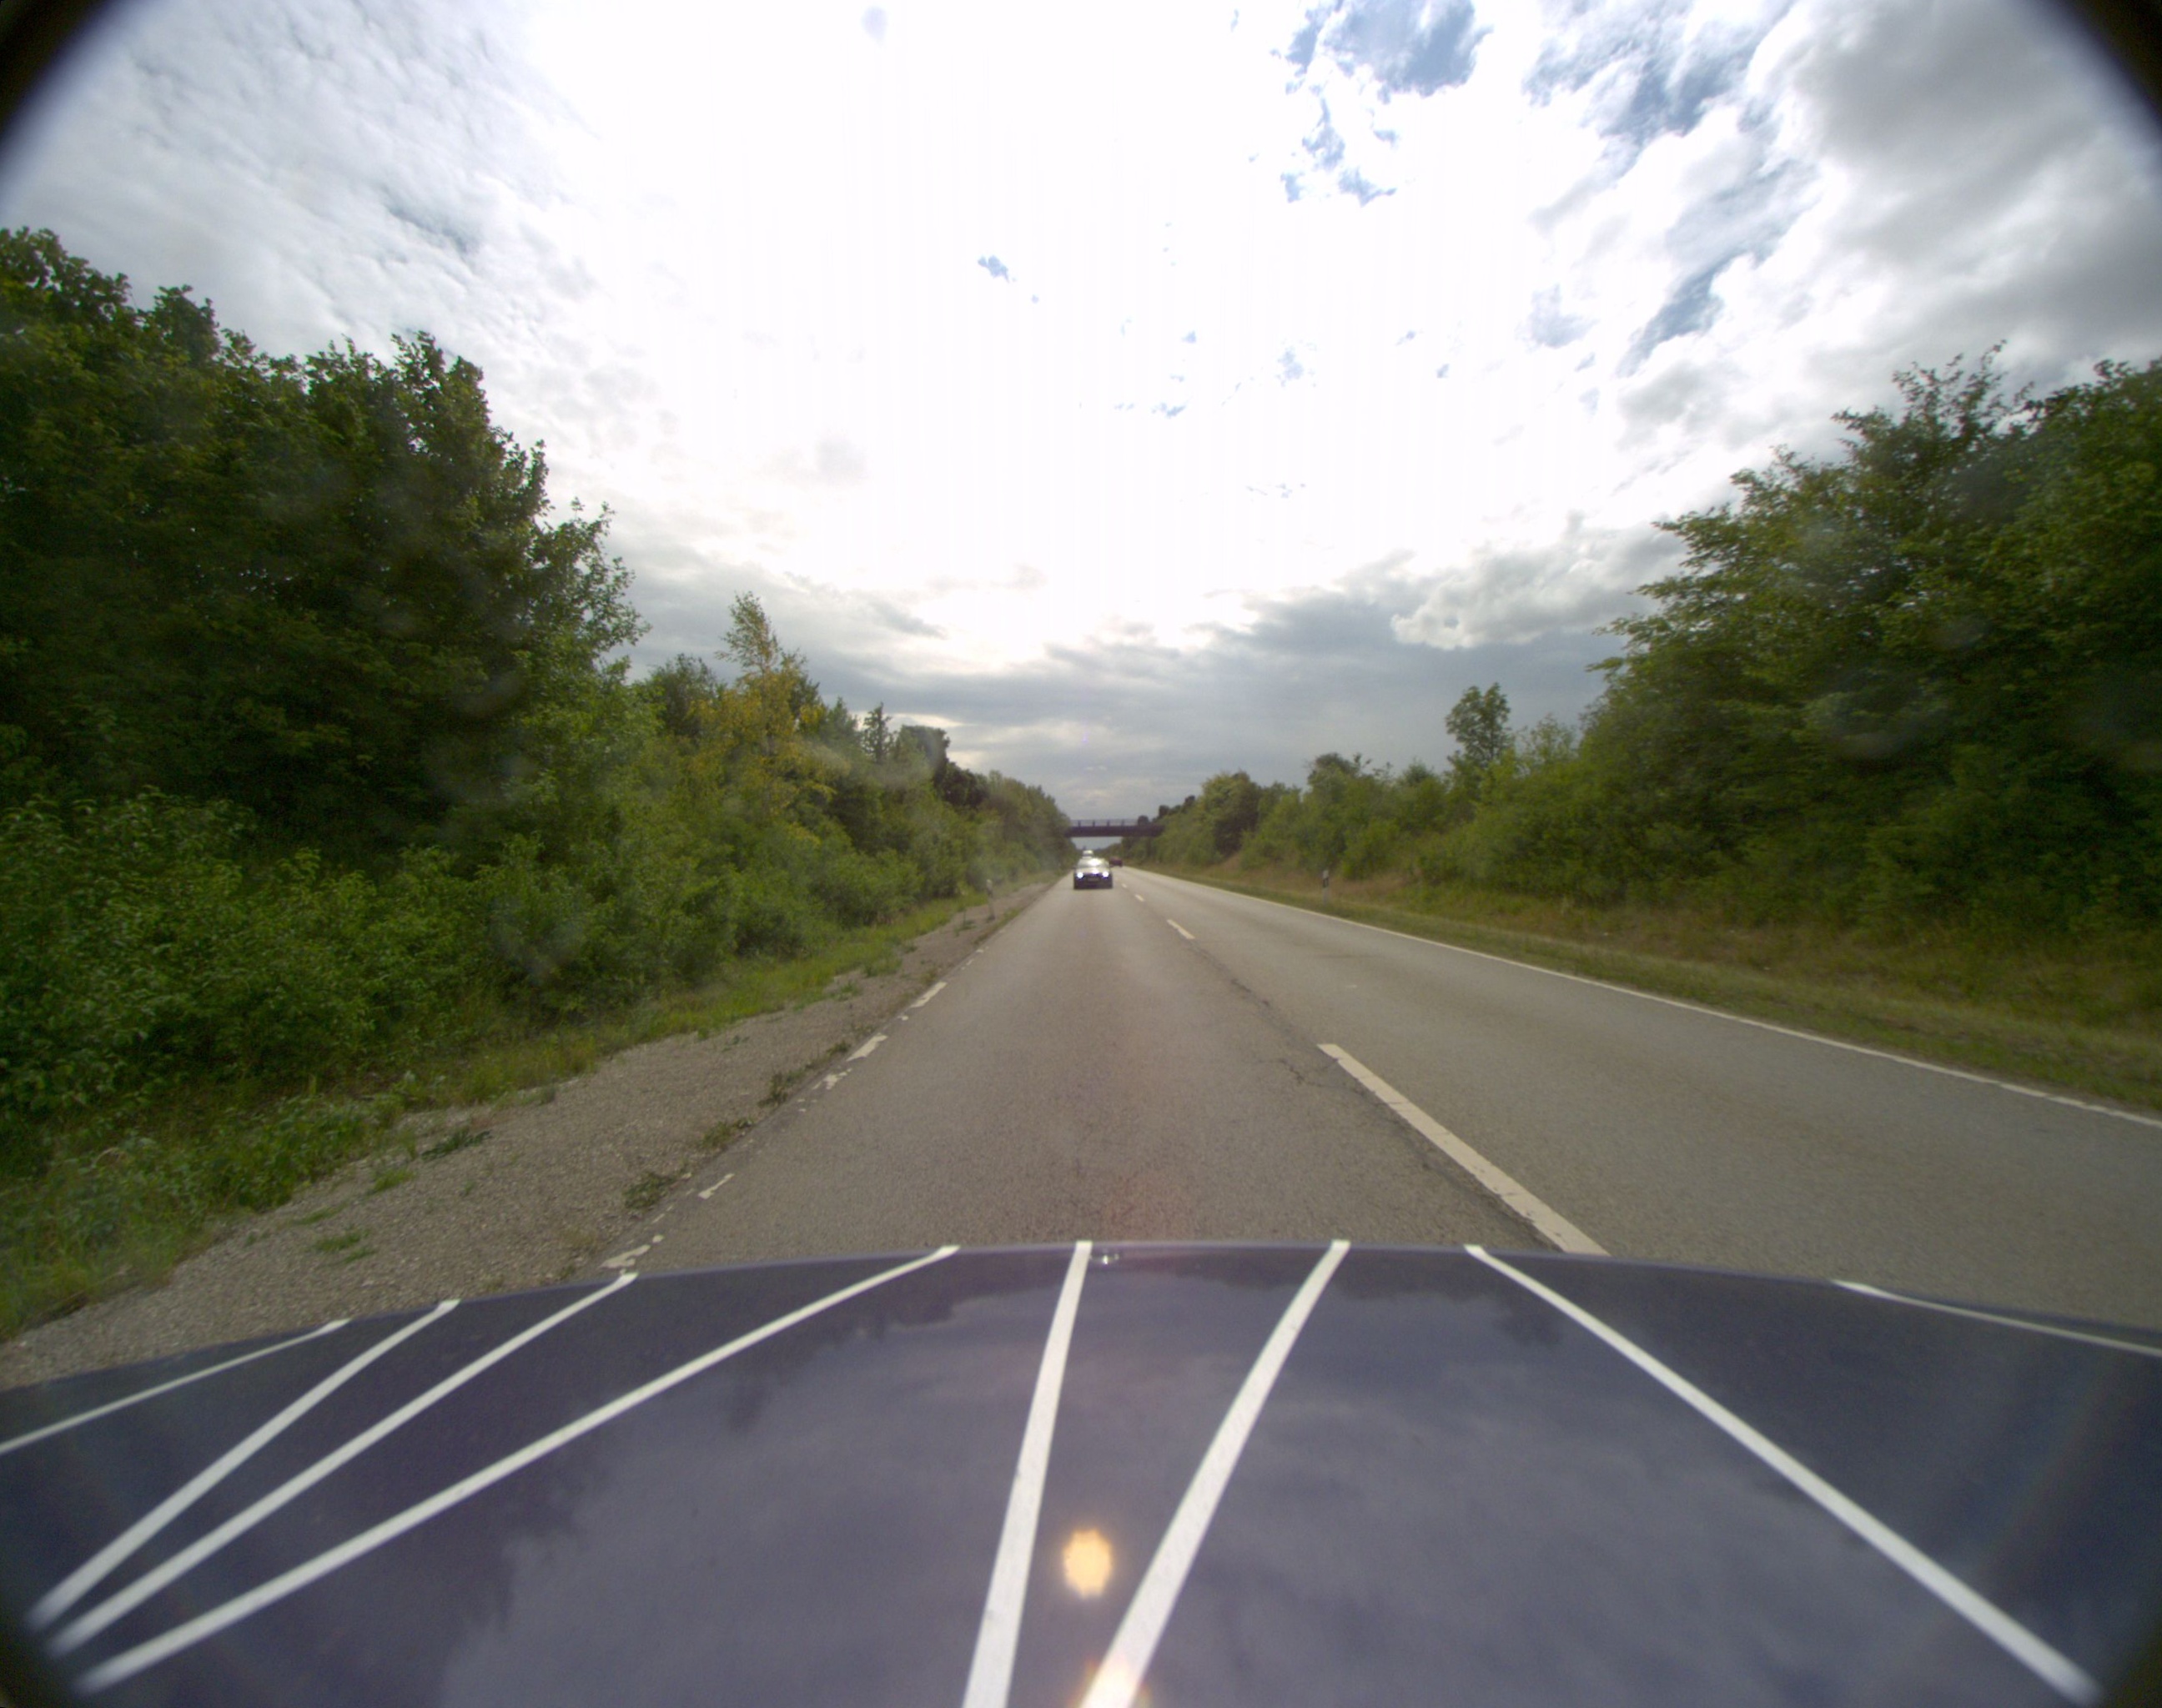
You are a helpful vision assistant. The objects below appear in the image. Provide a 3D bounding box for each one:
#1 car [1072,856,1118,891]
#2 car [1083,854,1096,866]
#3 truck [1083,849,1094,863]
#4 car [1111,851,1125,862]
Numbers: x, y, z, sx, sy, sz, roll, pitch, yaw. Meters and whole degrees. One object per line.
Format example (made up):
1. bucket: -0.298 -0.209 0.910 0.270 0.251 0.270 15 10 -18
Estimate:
1. car: 0.644 0.867 36.001 1.998 1.436 4.640 -2 0 1
2. car: 1.198 0.852 110.106 1.870 1.597 4.000 -1 0 0
3. truck: 1.379 0.345 140.439 1.802 2.518 6.685 -2 0 1
4. car: 5.134 0.289 106.107 1.833 1.456 4.411 -2 0 1
